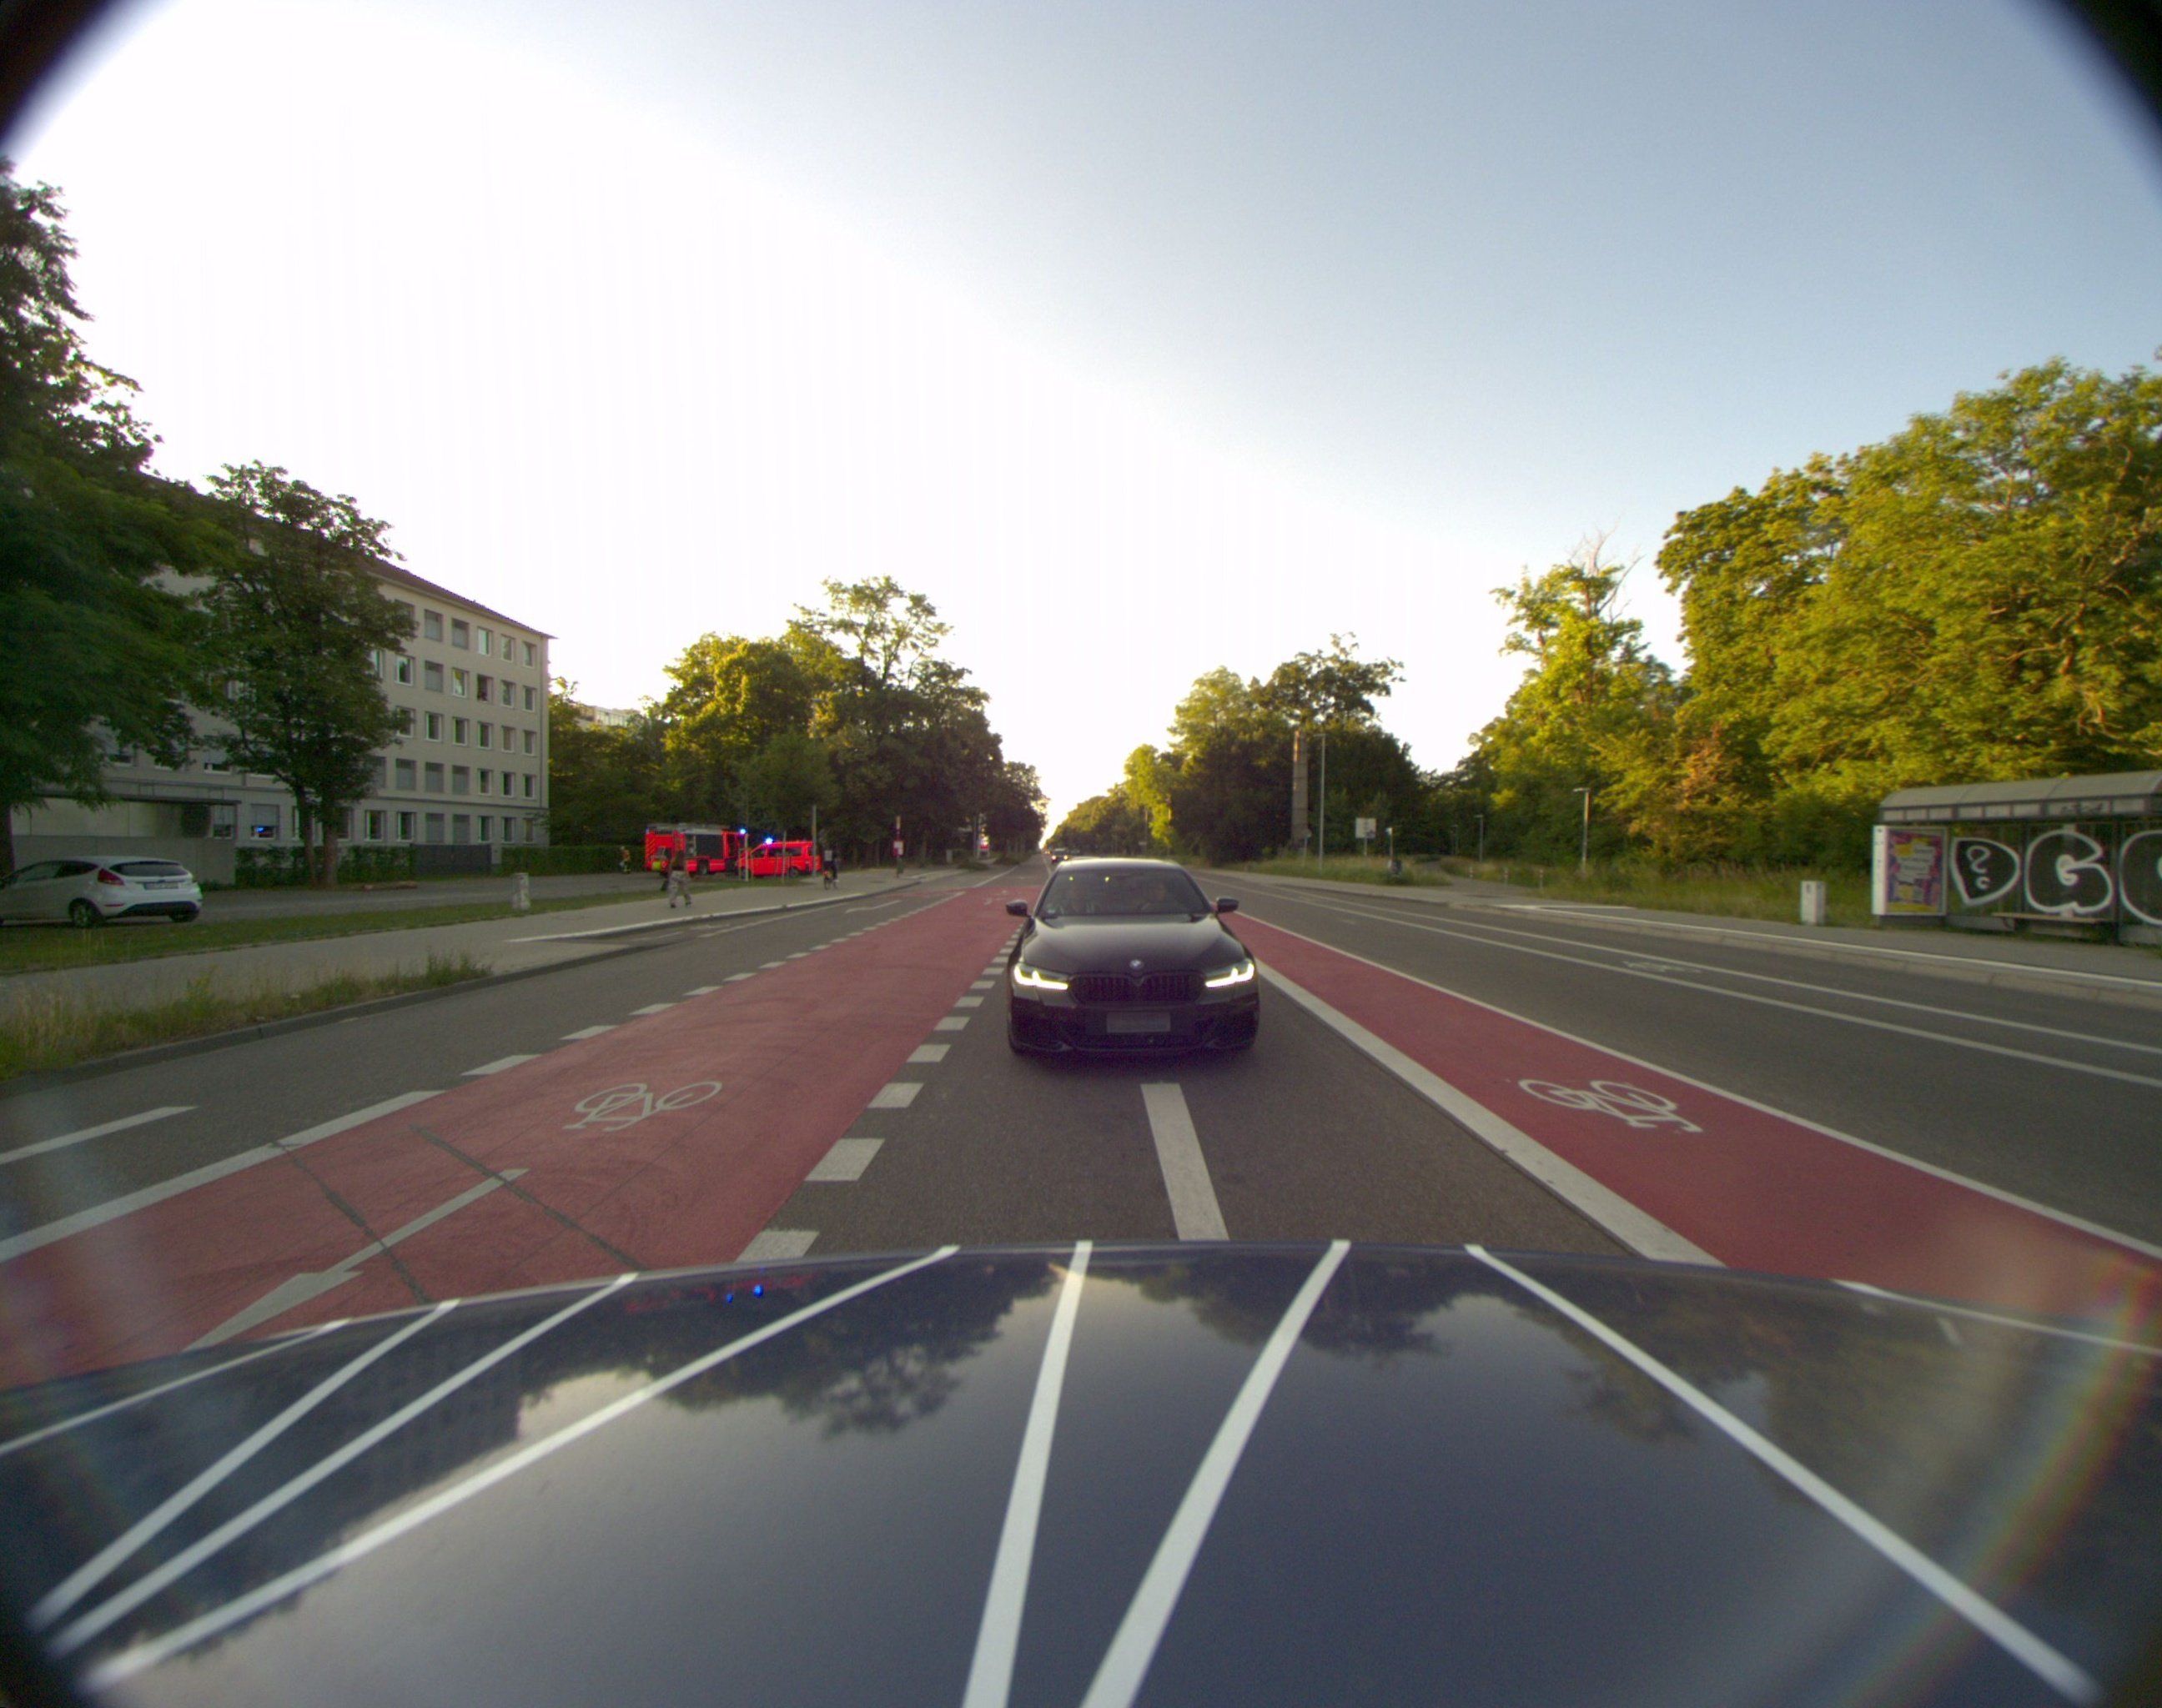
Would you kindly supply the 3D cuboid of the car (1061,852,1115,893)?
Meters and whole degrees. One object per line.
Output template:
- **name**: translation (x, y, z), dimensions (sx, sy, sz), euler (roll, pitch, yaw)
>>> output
- **car**: translation (0.203, 0.649, 29.521), dimensions (1.850, 1.346, 4.702), euler (-2, 1, -1)

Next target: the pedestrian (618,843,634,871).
- **pedestrian**: translation (-29.620, 0.200, 49.453), dimensions (0.847, 1.831, 0.681), euler (0, 1, -29)

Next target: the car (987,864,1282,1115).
- **car**: translation (0.248, 0.886, 7.396), dimensions (1.818, 1.391, 5.211), euler (-2, 1, -2)

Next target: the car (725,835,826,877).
- **car**: translation (-17.953, 0.111, 44.779), dimensions (5.164, 2.379, 2.000), euler (0, 1, 3)

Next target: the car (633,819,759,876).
- **car**: translation (-23.633, -0.441, 47.304), dimensions (2.770, 3.225, 8.301), euler (0, 1, 7)

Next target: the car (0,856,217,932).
- **car**: translation (-20.823, 0.796, 15.954), dimensions (3.662, 1.451, 1.665), euler (0, 1, 5)

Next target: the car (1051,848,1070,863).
- **car**: translation (-2.315, 0.150, 84.954), dimensions (1.851, 1.473, 4.701), euler (-2, 1, -3)

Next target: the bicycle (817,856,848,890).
- **bicycle**: translation (-9.539, 0.713, 29.212), dimensions (0.571, 1.233, 1.899), euler (0, 1, 1)

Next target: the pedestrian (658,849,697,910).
- **pedestrian**: translation (-10.778, 0.671, 20.301), dimensions (0.682, 1.613, 0.688), euler (0, 1, 1)

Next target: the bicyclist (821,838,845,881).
- **bicyclist**: translation (-9.539, 0.210, 29.304), dimensions (0.571, 1.623, 1.037), euler (0, 1, 1)
